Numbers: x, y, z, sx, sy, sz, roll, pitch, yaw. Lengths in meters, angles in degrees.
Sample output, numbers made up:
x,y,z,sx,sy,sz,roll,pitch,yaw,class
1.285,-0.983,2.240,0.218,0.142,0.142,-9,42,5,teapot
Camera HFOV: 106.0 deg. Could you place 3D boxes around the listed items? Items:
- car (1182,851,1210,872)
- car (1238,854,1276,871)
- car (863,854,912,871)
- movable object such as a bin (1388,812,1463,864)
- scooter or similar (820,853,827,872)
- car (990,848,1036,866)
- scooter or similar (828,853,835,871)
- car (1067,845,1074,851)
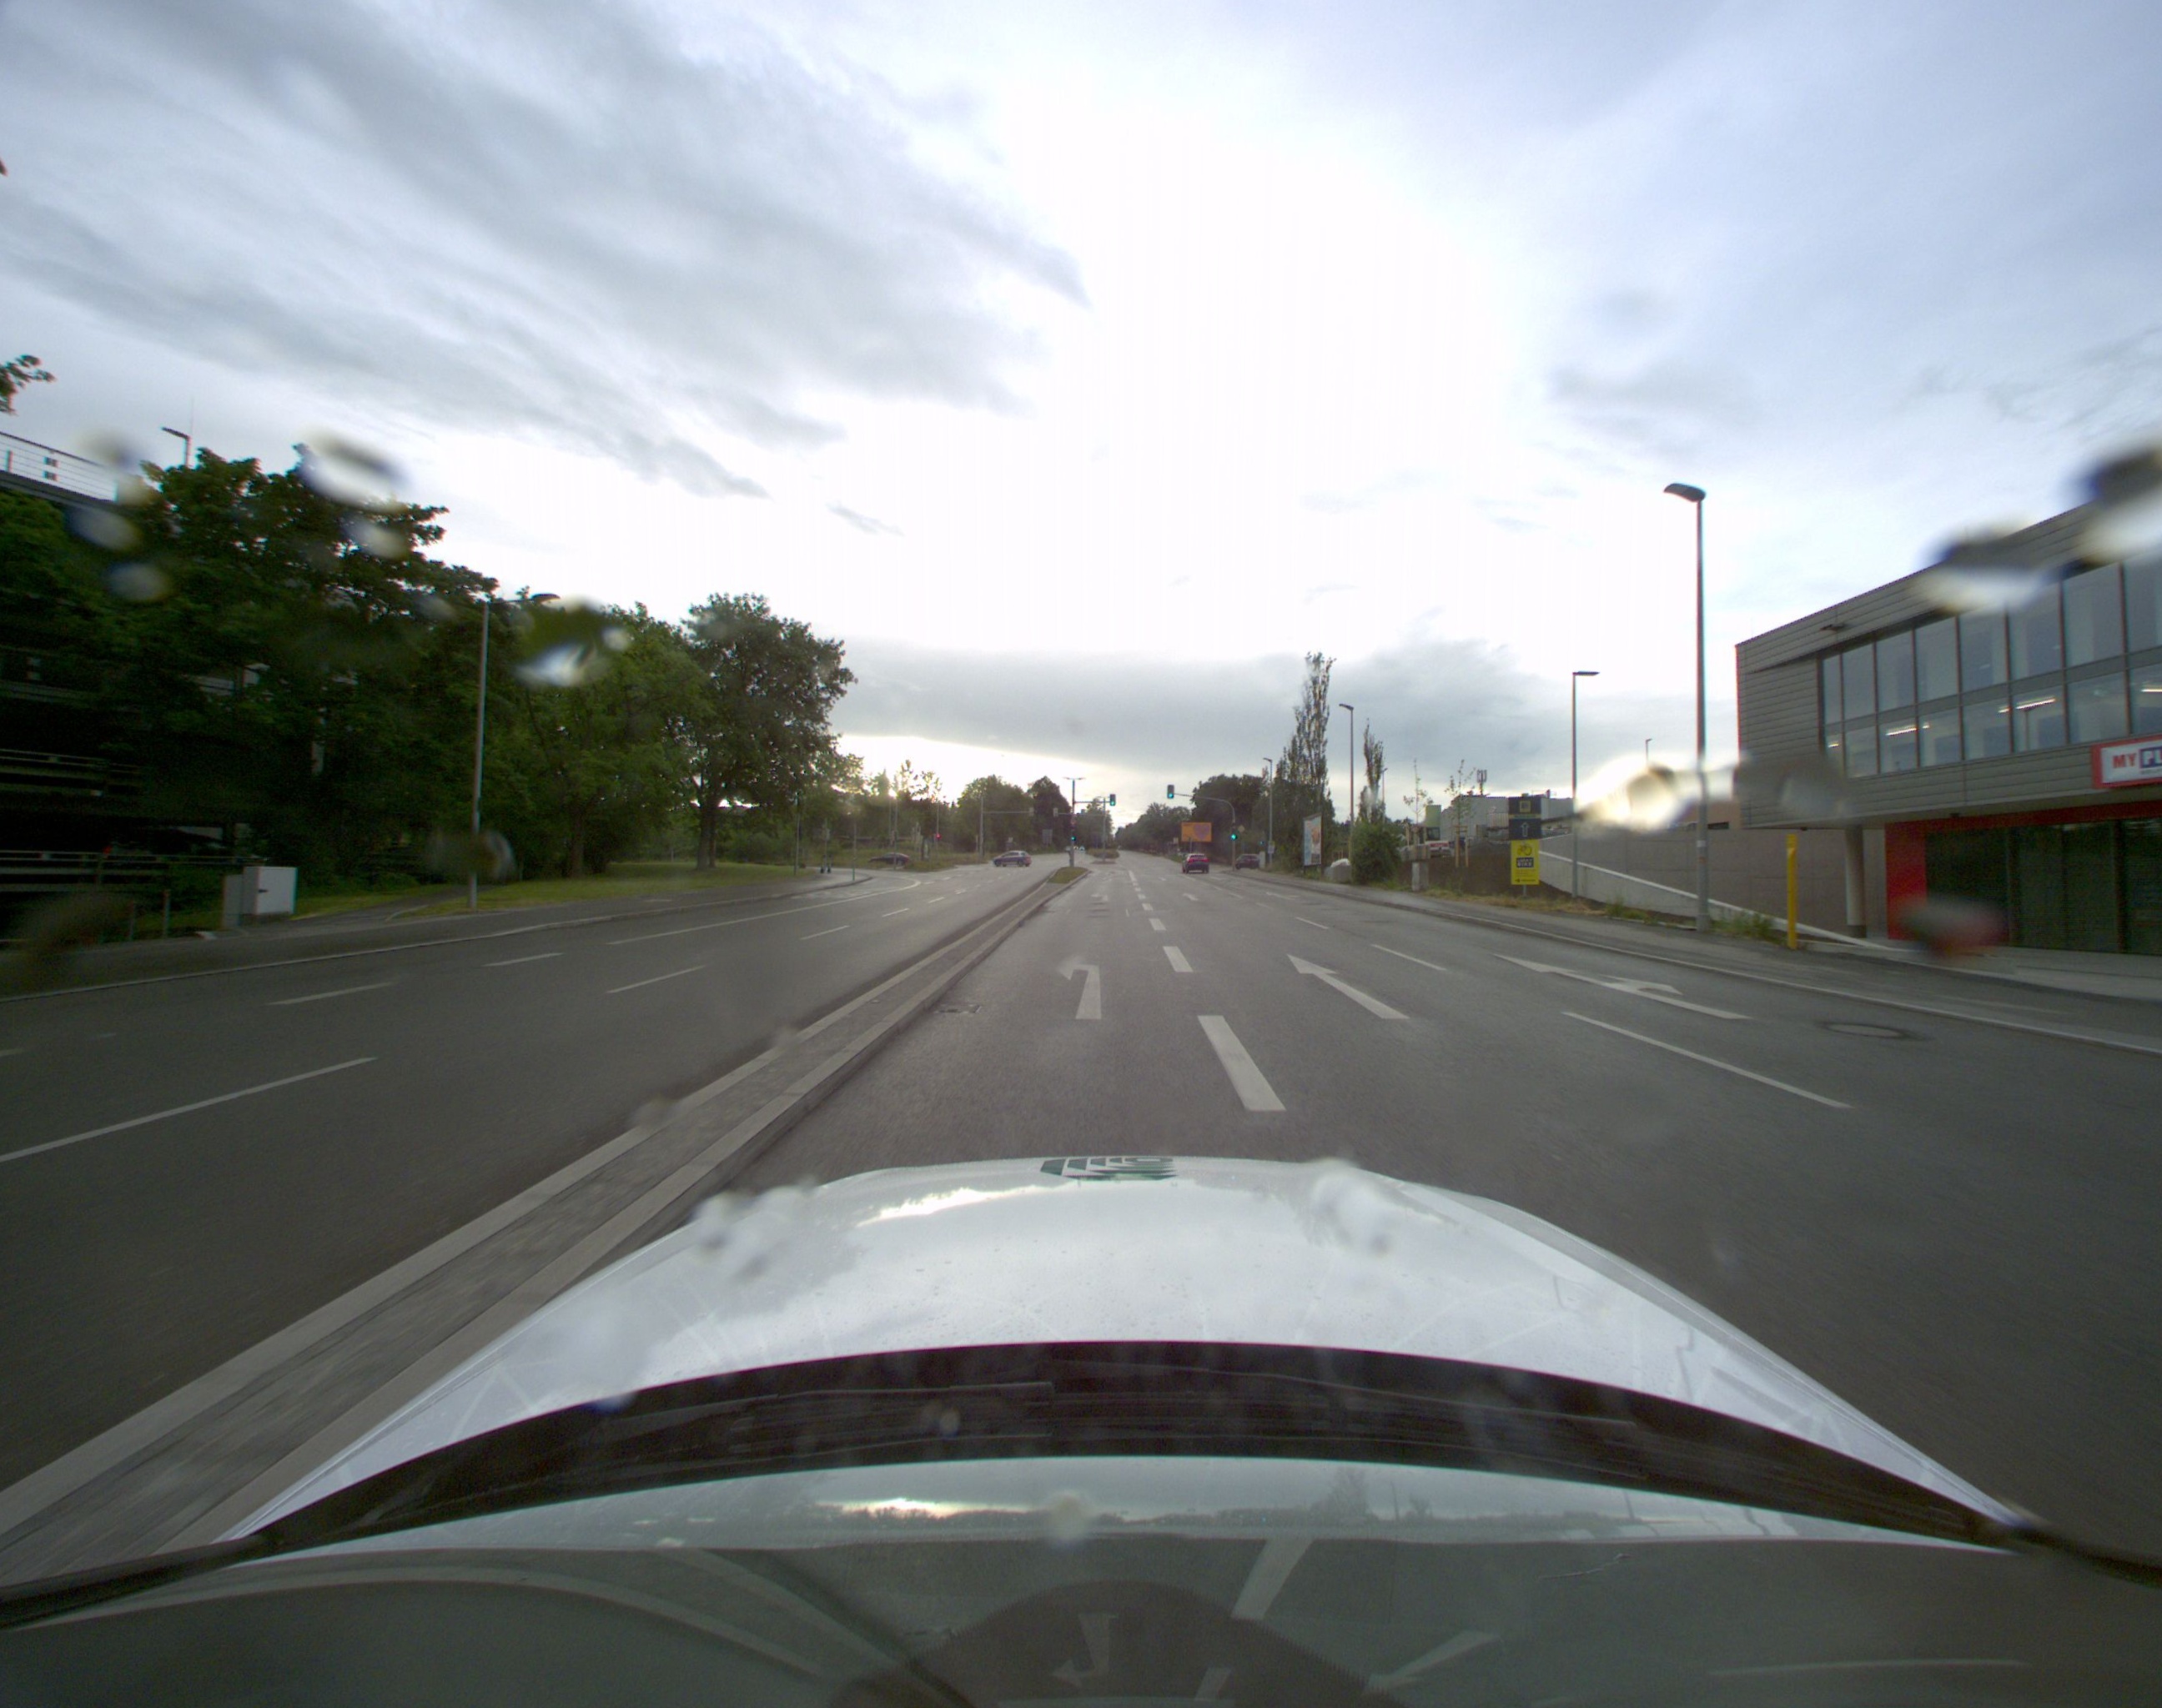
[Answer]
x,y,z,sx,sy,sz,roll,pitch,yaw,class
8.782,0.535,62.471,1.738,1.470,4.168,1,0,2,car
16.042,0.727,74.236,1.728,1.470,4.192,1,1,37,car
-20.280,0.868,85.528,4.638,1.583,2.170,2,-1,-3,car
22.746,-1.047,54.094,2.298,3.276,5.415,1,0,-5,movable object such as a bin
-17.367,0.580,55.016,0.311,1.218,1.303,1,0,-11,scooter or similar
-6.953,0.322,83.428,4.148,1.718,2.094,2,-2,22,car
-17.395,0.557,56.712,0.311,1.218,1.303,1,0,-11,scooter or similar
-2.908,-1.630,231.648,1.762,1.596,4.491,1,0,2,car
